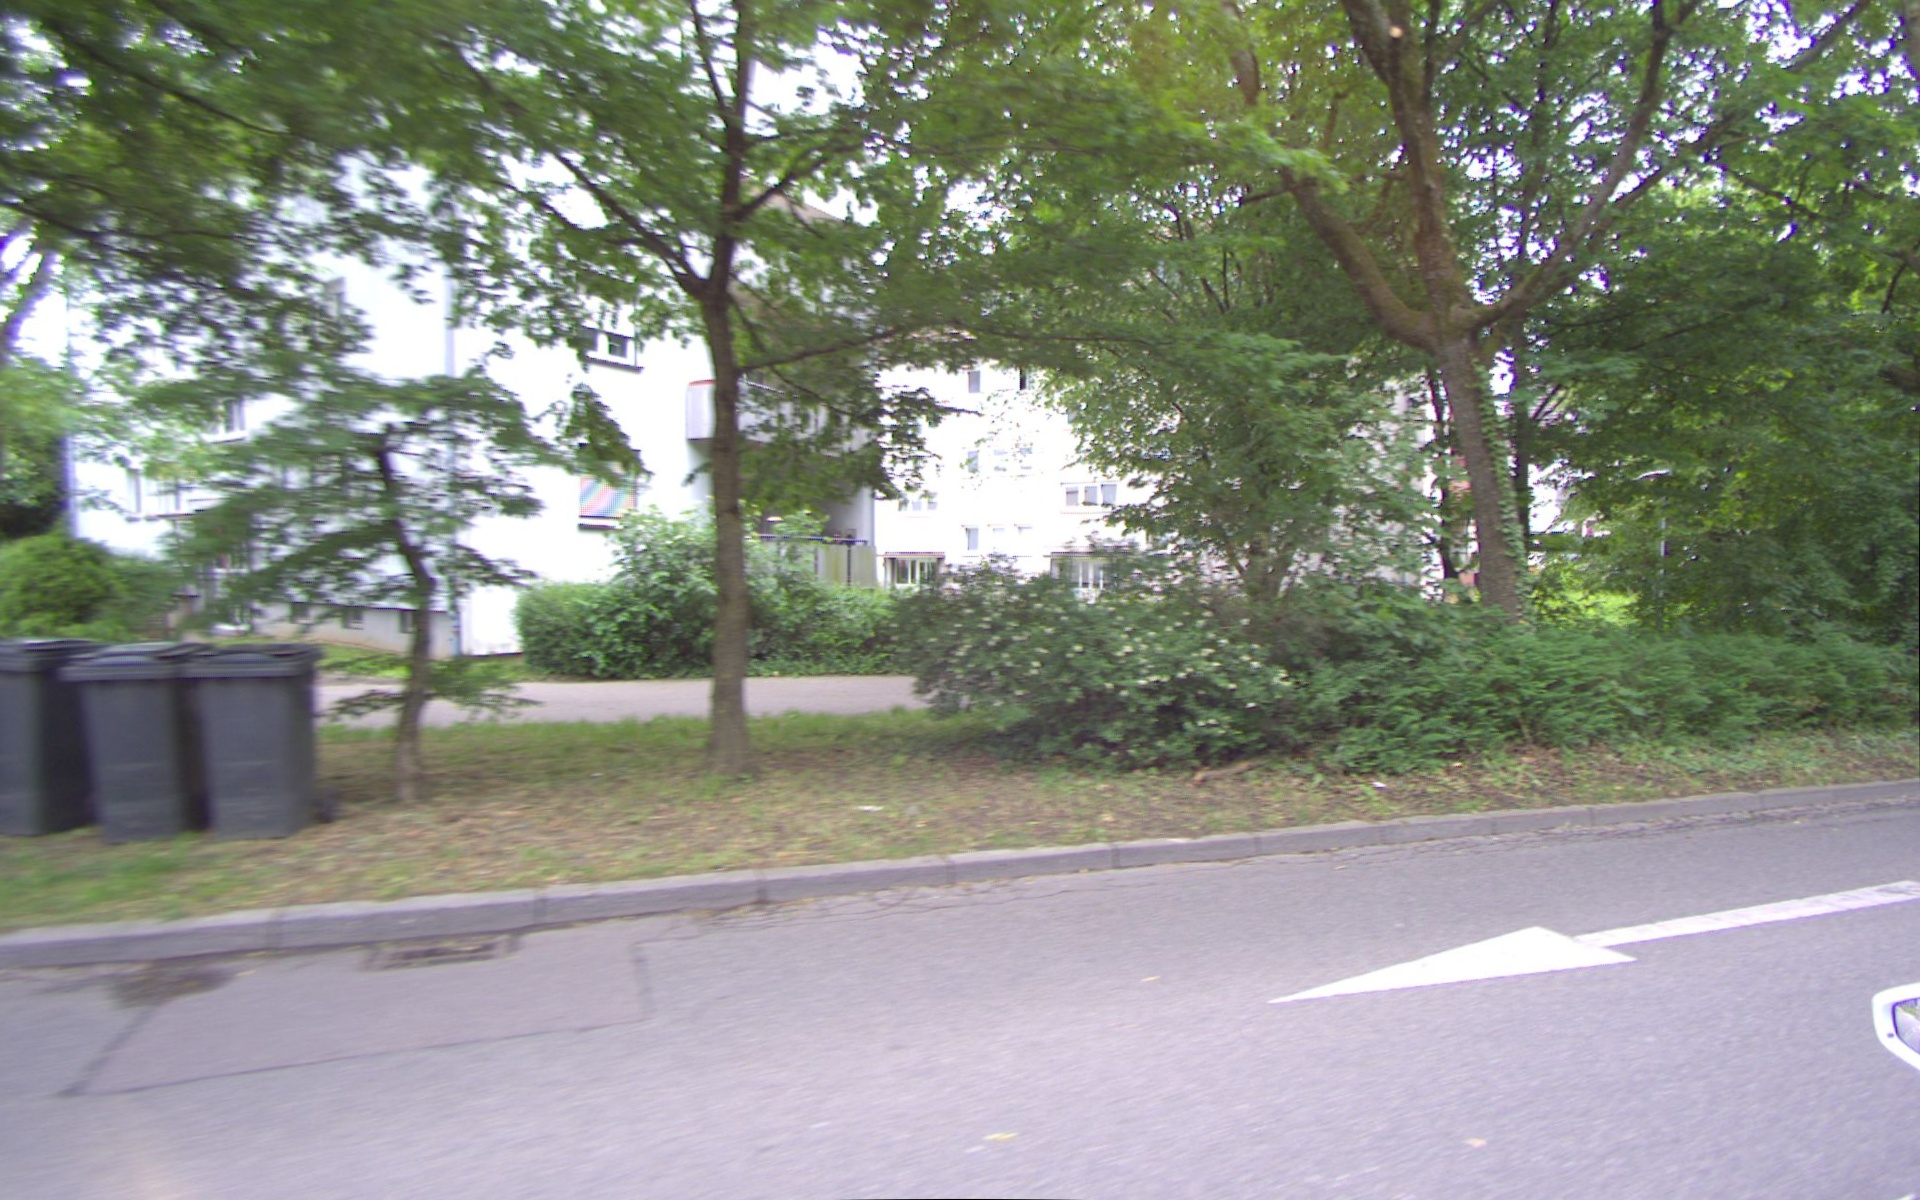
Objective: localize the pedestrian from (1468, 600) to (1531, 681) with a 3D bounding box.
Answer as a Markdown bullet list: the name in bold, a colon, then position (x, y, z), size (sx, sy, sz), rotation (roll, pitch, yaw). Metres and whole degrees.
- **pedestrian**: position (10.691, 0.787, 19.920), size (0.859, 1.521, 0.606), rotation (0, 5, -22)

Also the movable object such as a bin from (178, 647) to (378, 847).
- **movable object such as a bin**: position (-3.355, 0.704, 4.989), size (0.566, 0.856, 0.600), rotation (2, 4, -1)

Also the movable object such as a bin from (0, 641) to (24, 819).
- **movable object such as a bin**: position (-5.041, 0.658, 4.695), size (0.610, 0.875, 0.730), rotation (2, 4, -1)

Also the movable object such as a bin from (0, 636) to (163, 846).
- **movable object such as a bin**: position (-4.457, 0.663, 4.924), size (0.581, 0.891, 0.620), rotation (2, 4, -1)

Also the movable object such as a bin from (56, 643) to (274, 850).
- **movable object such as a bin**: position (-3.856, 0.693, 4.920), size (0.566, 0.878, 0.600), rotation (2, 4, -1)
